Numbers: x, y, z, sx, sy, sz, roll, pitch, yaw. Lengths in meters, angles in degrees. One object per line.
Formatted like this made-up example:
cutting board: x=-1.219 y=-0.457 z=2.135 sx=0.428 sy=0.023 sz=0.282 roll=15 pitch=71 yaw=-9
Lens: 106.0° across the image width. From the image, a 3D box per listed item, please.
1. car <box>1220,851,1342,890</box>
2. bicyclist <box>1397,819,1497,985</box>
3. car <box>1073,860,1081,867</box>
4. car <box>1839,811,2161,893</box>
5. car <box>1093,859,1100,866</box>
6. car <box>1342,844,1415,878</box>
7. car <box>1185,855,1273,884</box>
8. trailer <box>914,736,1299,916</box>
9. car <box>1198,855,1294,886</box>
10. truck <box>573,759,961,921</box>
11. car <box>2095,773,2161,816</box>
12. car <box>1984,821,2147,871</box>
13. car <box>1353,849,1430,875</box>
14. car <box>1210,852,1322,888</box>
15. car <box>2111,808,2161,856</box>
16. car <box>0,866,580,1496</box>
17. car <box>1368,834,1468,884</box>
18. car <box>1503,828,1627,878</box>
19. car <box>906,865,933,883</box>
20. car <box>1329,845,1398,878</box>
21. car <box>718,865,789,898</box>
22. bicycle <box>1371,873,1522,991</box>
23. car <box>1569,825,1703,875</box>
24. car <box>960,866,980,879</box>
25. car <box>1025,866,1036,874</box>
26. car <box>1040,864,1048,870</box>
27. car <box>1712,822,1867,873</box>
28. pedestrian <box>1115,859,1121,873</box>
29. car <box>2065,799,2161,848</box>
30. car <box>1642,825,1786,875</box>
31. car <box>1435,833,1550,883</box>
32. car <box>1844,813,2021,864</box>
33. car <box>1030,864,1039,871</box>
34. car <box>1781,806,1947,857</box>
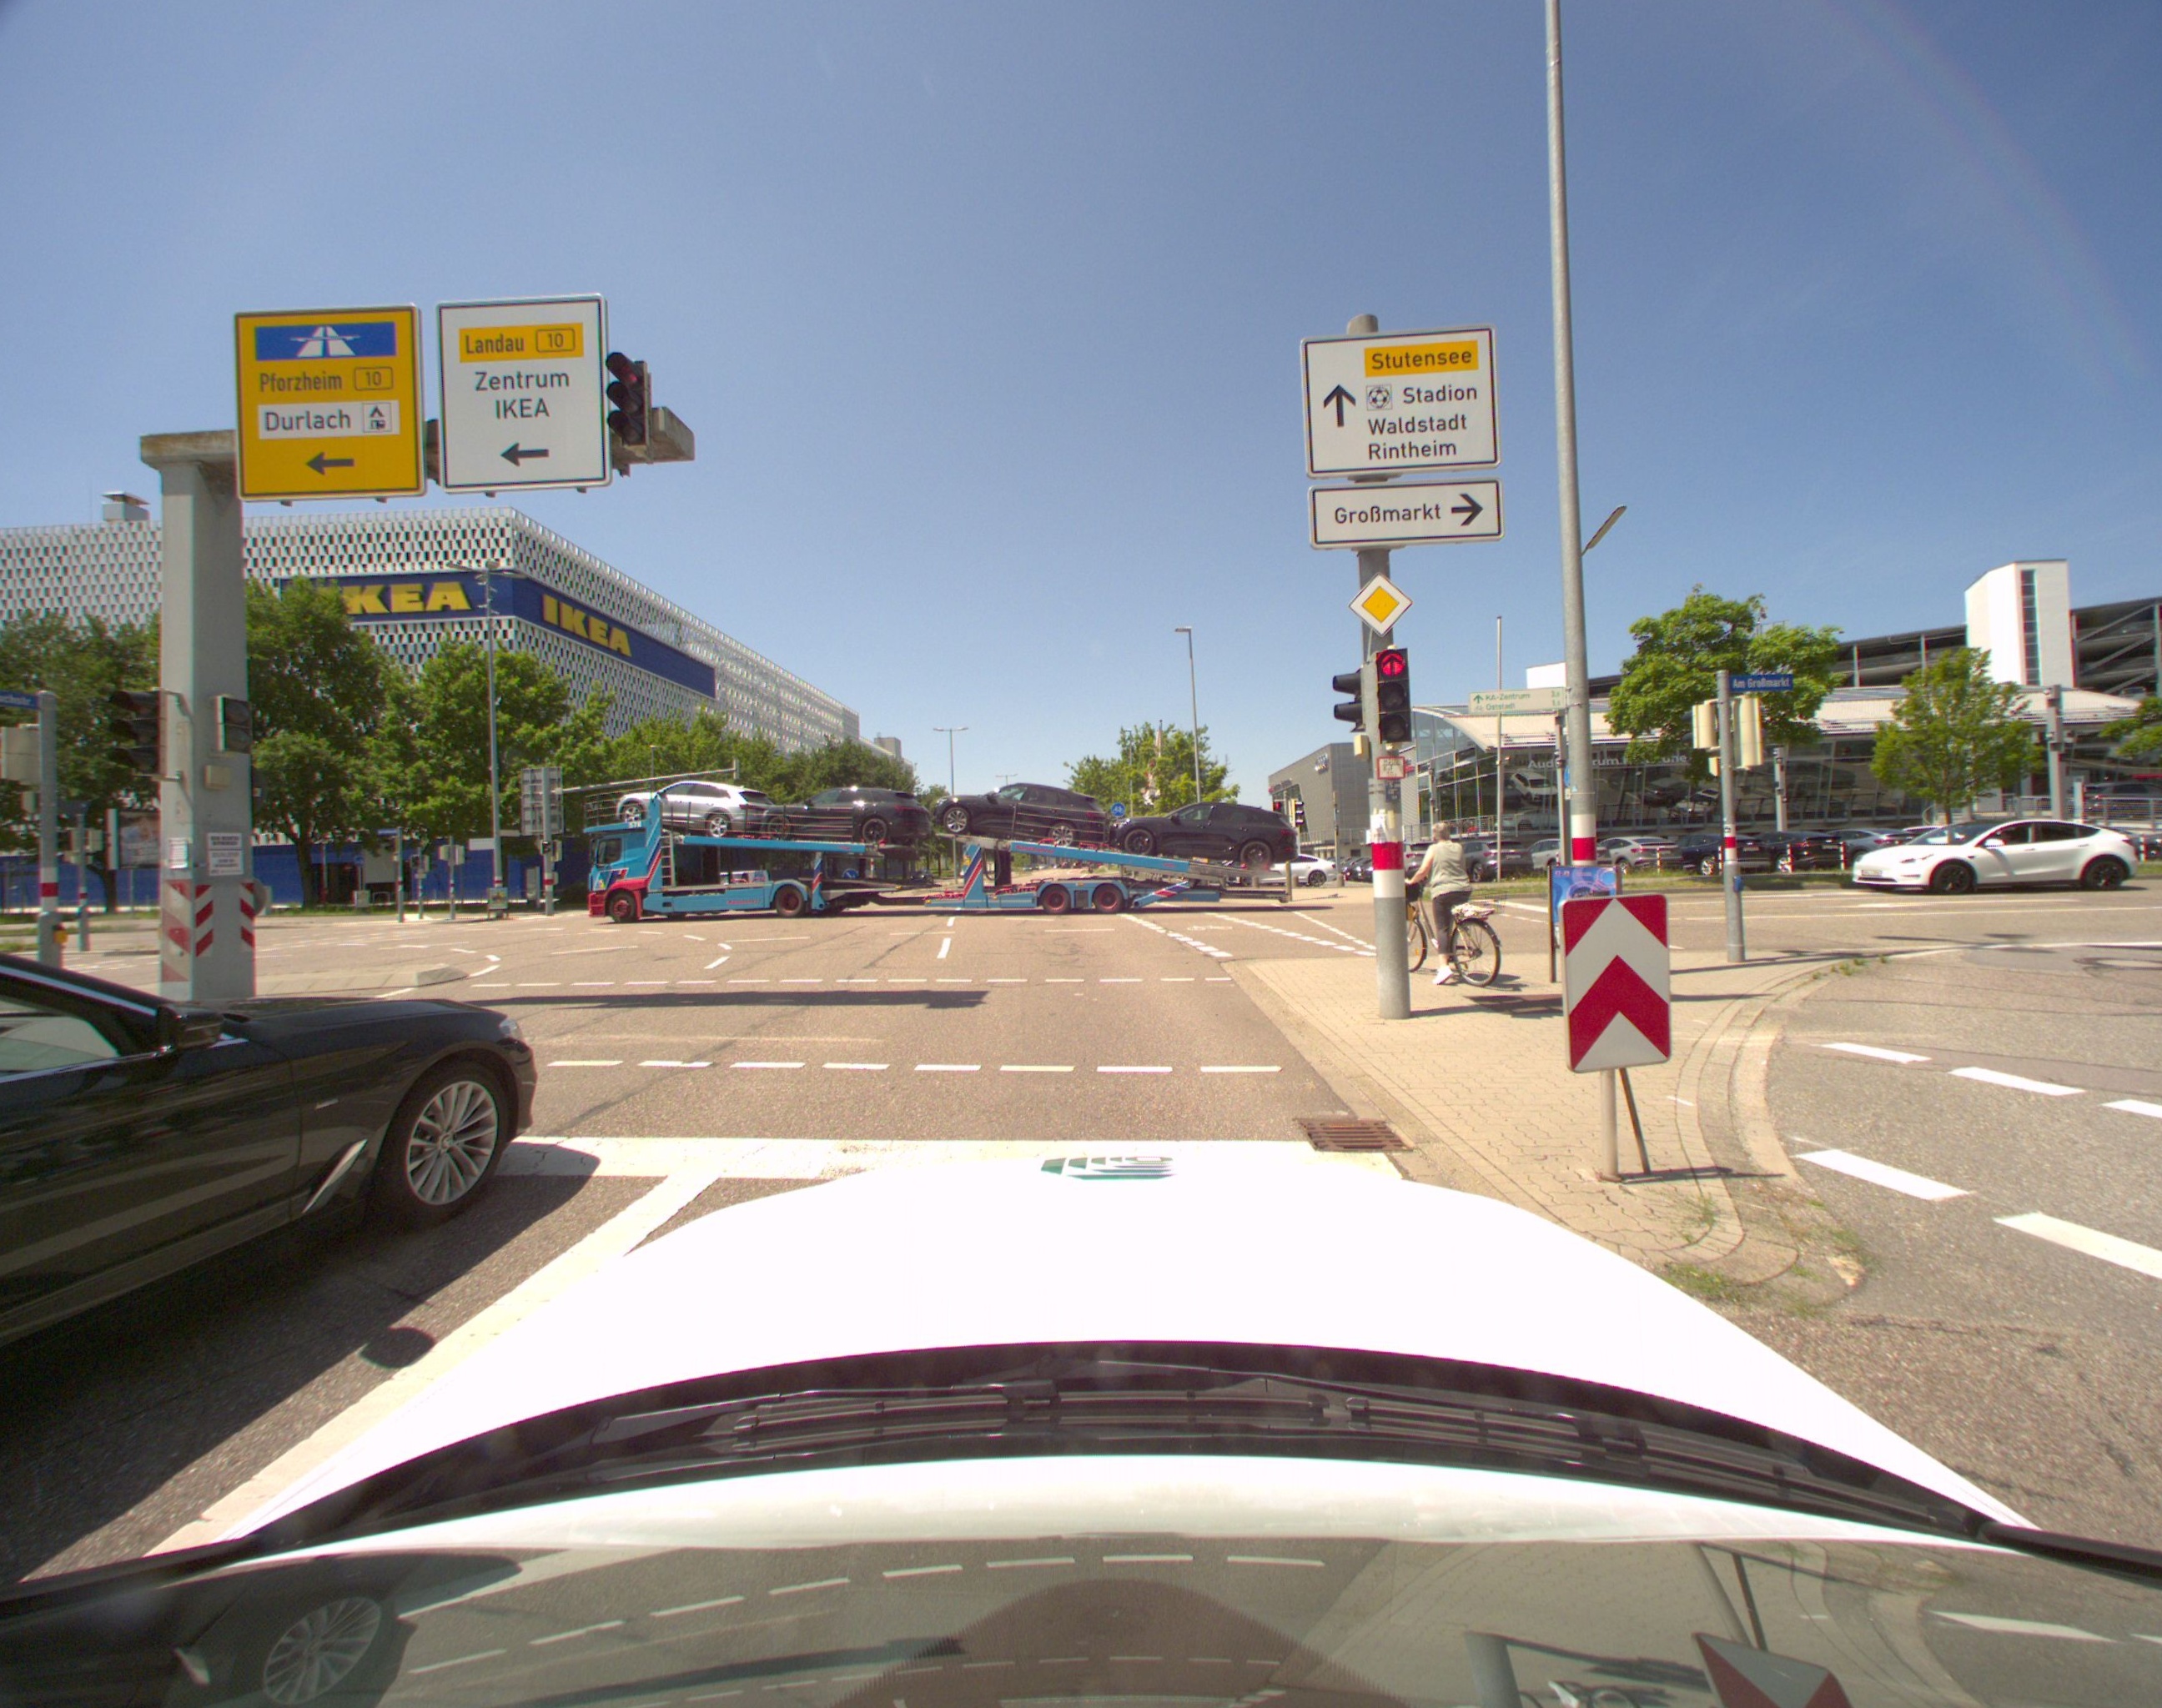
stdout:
car: x=8.380 y=0.676 z=34.463 sx=4.721 sy=1.457 sz=2.002 roll=-2 pitch=0 yaw=3
bicyclist: x=4.033 y=0.507 z=9.017 sx=0.732 sy=1.749 sz=0.753 roll=-1 pitch=0 yaw=-3
car: x=-1.107 y=2.585 z=221.813 sx=1.765 sy=1.728 sz=4.001 roll=-3 pitch=-1 yaw=1
car: x=20.419 y=-0.058 z=18.309 sx=4.654 sy=1.588 sz=2.004 roll=-2 pitch=1 yaw=7
car: x=4.134 y=2.366 z=222.359 sx=1.765 sy=1.728 sz=4.001 roll=-3 pitch=-1 yaw=1
car: x=19.155 y=0.446 z=52.595 sx=3.971 sy=2.013 sz=2.001 roll=-2 pitch=-1 yaw=2
car: x=8.617 y=0.884 z=47.698 sx=4.726 sy=1.457 sz=2.000 roll=-2 pitch=0 yaw=-1
trailer: x=0.731 y=-0.568 z=21.551 sx=9.545 sy=4.081 sz=3.105 roll=-2 pitch=-1 yaw=13
car: x=8.747 y=0.851 z=43.468 sx=4.726 sy=1.457 sz=2.000 roll=-2 pitch=0 yaw=-1
truck: x=-9.119 y=-0.264 z=23.834 sx=10.543 sy=4.083 sz=3.111 roll=-2 pitch=-1 yaw=13
car: x=54.947 y=-3.065 z=41.275 sx=1.989 sy=2.013 sz=3.994 roll=-2 pitch=0 yaw=-4
car: x=38.817 y=-0.309 z=32.251 sx=3.665 sy=1.777 sz=1.759 roll=-3 pitch=-1 yaw=28
car: x=19.140 y=0.486 z=50.251 sx=4.076 sy=1.460 sz=1.720 roll=-2 pitch=0 yaw=2
car: x=8.458 y=0.728 z=37.530 sx=4.721 sy=1.457 sz=2.002 roll=-2 pitch=-1 yaw=3
car: x=39.682 y=-0.861 z=28.165 sx=4.705 sy=1.639 sz=1.844 roll=-3 pitch=0 yaw=24
car: x=-3.477 y=0.806 z=1.808 sx=1.794 sy=1.466 sz=4.623 roll=-1 pitch=0 yaw=1
car: x=12.344 y=0.172 z=30.137 sx=1.986 sy=1.639 sz=4.270 roll=-2 pitch=0 yaw=1
car: x=17.712 y=-0.047 z=30.071 sx=1.986 sy=1.639 sz=4.442 roll=-3 pitch=0 yaw=1
car: x=-18.869 y=2.402 z=95.433 sx=1.984 sy=2.014 sz=4.005 roll=-2 pitch=-2 yaw=5
car: x=19.167 y=0.497 z=55.412 sx=3.971 sy=2.013 sz=2.001 roll=-2 pitch=-1 yaw=2
car: x=-21.875 y=1.815 z=54.588 sx=1.980 sy=2.008 sz=4.780 roll=-3 pitch=-1 yaw=12
bicycle: x=4.060 y=0.817 z=9.242 sx=0.784 sy=1.127 sz=1.919 roll=-1 pitch=0 yaw=-2
car: x=20.266 y=-0.143 z=30.005 sx=1.878 sy=1.639 sz=4.526 roll=-3 pitch=0 yaw=1
car: x=-16.166 y=2.676 z=118.596 sx=1.918 sy=1.665 sz=4.093 roll=-3 pitch=-1 yaw=4
car: x=-9.853 y=3.142 z=159.860 sx=1.726 sy=1.427 sz=3.707 roll=-4 pitch=-1 yaw=1
car: x=-9.785 y=3.438 z=215.264 sx=1.644 sy=1.653 sz=4.163 roll=-2 pitch=0 yaw=0
car: x=25.740 y=-0.235 z=29.823 sx=1.821 sy=1.639 sz=4.475 roll=-2 pitch=0 yaw=1
pedestrian: x=4.053 y=1.311 z=89.388 sx=0.665 sy=1.510 sz=0.736 roll=-2 pitch=-1 yaw=1
car: x=46.800 y=-1.360 z=36.072 sx=3.728 sy=2.013 sz=1.866 roll=-2 pitch=-1 yaw=10
car: x=23.001 y=-0.150 z=29.856 sx=1.821 sy=1.639 sz=4.476 roll=-3 pitch=0 yaw=1
car: x=15.020 y=0.130 z=30.027 sx=1.986 sy=1.639 sz=4.559 roll=-2 pitch=0 yaw=1
car: x=30.864 y=-0.536 z=29.743 sx=1.821 sy=1.639 sz=4.476 roll=-3 pitch=0 yaw=1
car: x=-10.302 y=2.972 z=181.424 sx=1.678 sy=1.411 sz=3.666 roll=-3 pitch=-1 yaw=1
car: x=28.463 y=-0.777 z=29.847 sx=1.821 sy=1.639 sz=4.476 roll=-3 pitch=0 yaw=1
